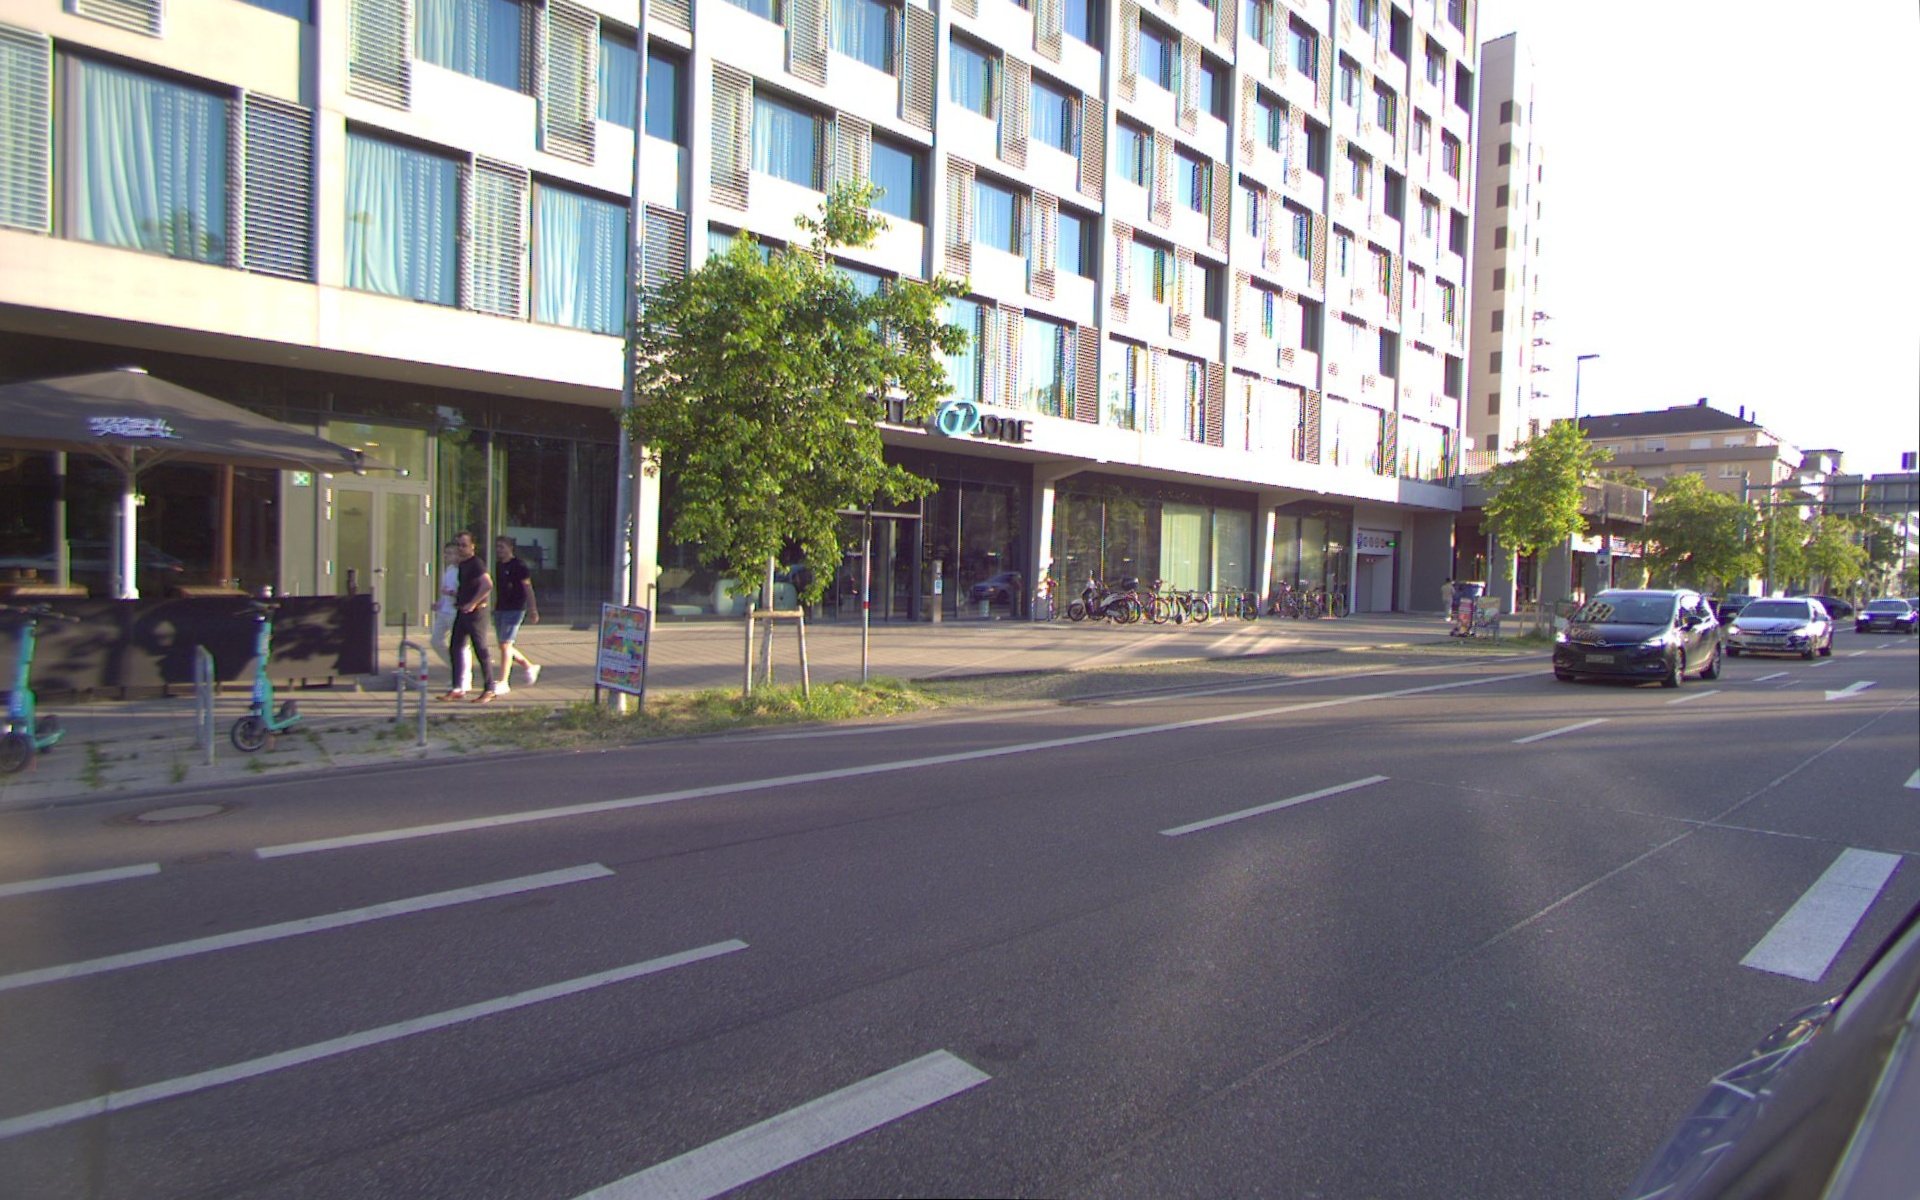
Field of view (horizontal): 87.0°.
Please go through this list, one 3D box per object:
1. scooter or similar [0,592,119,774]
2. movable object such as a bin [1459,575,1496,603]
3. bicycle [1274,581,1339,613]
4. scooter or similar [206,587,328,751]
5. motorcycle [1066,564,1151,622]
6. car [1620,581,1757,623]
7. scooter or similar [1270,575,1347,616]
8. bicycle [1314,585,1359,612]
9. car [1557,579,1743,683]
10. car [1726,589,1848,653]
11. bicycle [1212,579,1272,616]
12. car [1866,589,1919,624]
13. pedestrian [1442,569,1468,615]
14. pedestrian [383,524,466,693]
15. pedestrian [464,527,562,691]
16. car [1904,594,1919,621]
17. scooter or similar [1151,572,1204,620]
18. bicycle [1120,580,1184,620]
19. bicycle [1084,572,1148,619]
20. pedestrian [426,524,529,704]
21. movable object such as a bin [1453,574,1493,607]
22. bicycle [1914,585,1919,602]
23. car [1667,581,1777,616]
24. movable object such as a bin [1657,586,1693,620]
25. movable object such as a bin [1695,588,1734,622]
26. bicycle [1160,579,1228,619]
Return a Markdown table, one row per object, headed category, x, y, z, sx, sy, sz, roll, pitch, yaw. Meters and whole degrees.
| category | x | y | z | sx | sy | sz | roll | pitch | yaw |
| --- | --- | --- | --- | --- | --- | --- | --- | --- | --- |
| scooter or similar | -7.023 | 0.594 | 7.823 | 0.521 | 1.228 | 1.134 | 0 | 4 | -26 |
| movable object such as a bin | 24.763 | -0.527 | 48.402 | 1.283 | 1.315 | 1.183 | 0 | 2 | -44 |
| bicycle | 12.005 | -0.119 | 35.094 | 2.015 | 0.969 | 0.611 | 5 | 3 | 42 |
| scooter or similar | -5.996 | 0.556 | 8.818 | 0.524 | 1.233 | 1.300 | 1 | 4 | -18 |
| motorcycle | 3.960 | -0.212 | 27.096 | 2.105 | 1.403 | 0.664 | 5 | 2 | 35 |
| car | 33.226 | 0.078 | 46.303 | 4.593 | 1.526 | 1.936 | 3 | 3 | 9 |
| scooter or similar | 11.458 | -0.157 | 33.364 | 0.610 | 1.197 | 2.377 | 0 | 3 | -42 |
| bicycle | 13.329 | -0.052 | 35.837 | 0.449 | 0.902 | 1.424 | 0 | 2 | -42 |
| car | 12.293 | 0.472 | 17.924 | 4.293 | 1.619 | 1.825 | 0 | 0 | -43 |
| car | 20.793 | 0.482 | 25.382 | 4.230 | 1.482 | 1.830 | 0 | 0 | -43 |
| bicycle | 8.722 | -0.091 | 31.349 | 0.542 | 0.998 | 1.701 | 0 | 4 | -44 |
| car | 39.893 | 0.271 | 42.737 | 4.201 | 1.413 | 1.914 | 0 | 0 | -41 |
| pedestrian | 18.039 | -0.302 | 36.869 | 0.632 | 1.638 | 0.577 | 0 | 3 | -45 |
| pedestrian | -6.097 | 0.080 | 11.514 | 0.762 | 1.833 | 0.622 | 0 | 5 | -33 |
| pedestrian | -5.297 | 0.080 | 11.977 | 0.922 | 1.846 | 0.759 | 1 | 3 | -33 |
| car | 52.068 | 0.376 | 54.407 | 1.858 | 1.413 | 4.209 | 0 | 0 | 44 |
| scooter or similar | 6.064 | -0.116 | 28.284 | 1.268 | 1.248 | 0.599 | 5 | 4 | 44 |
| bicycle | 5.326 | -0.006 | 28.174 | 0.542 | 0.998 | 1.701 | 0 | 4 | -44 |
| bicycle | 4.276 | -0.128 | 27.814 | 1.603 | 1.168 | 0.604 | 5 | 3 | 36 |
| pedestrian | -5.325 | 0.127 | 11.158 | 0.922 | 1.871 | 0.747 | 0 | 4 | -33 |
| movable object such as a bin | 22.546 | -0.425 | 44.474 | 1.261 | 1.346 | 1.107 | 0 | 4 | -43 |
| bicycle | 69.034 | -0.428 | 72.023 | 0.810 | 1.187 | 2.135 | 3 | 3 | 19 |
| car | 38.135 | -0.084 | 50.734 | 3.928 | 1.433 | 1.747 | 4 | 3 | 10 |
| movable object such as a bin | 30.413 | 0.126 | 43.023 | 1.014 | 1.363 | 1.143 | 6 | 4 | 43 |
| movable object such as a bin | 31.364 | 0.200 | 42.065 | 1.084 | 1.317 | 1.341 | 6 | 4 | 41 |
| bicycle | 6.805 | -0.050 | 29.511 | 0.556 | 1.022 | 1.888 | 0 | 5 | -43 |
